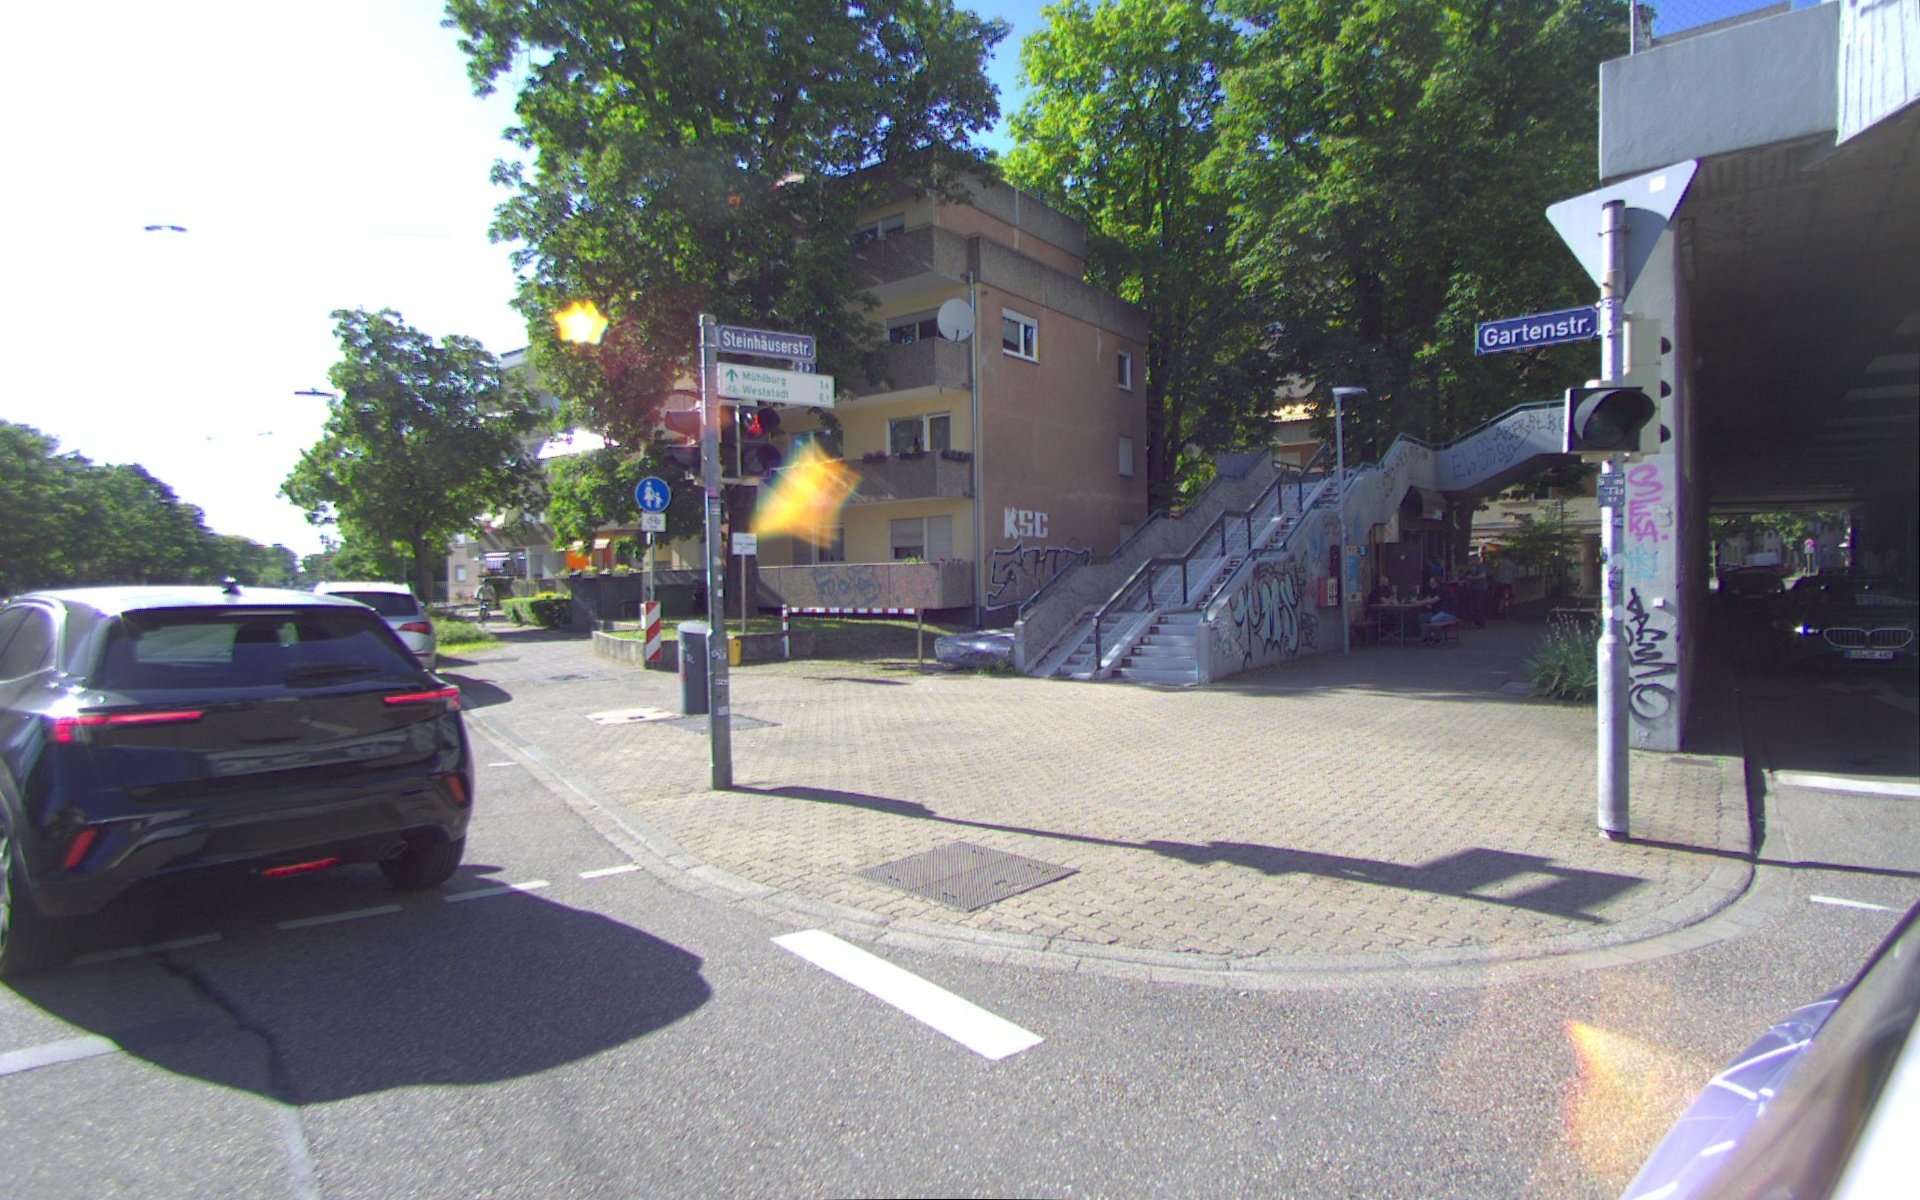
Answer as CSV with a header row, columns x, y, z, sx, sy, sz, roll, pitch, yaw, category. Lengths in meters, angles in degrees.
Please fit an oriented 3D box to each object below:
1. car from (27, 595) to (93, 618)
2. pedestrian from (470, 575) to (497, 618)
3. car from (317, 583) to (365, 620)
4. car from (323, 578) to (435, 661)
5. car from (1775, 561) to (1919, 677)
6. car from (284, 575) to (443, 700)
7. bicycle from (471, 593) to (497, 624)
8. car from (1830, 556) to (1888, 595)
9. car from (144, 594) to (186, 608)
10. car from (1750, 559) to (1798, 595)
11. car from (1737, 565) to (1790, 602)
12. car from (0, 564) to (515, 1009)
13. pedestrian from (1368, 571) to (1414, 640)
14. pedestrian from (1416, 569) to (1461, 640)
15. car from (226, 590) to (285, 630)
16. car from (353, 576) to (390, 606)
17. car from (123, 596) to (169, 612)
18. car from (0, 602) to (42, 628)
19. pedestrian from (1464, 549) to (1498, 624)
x,y,z,sx,sy,sz,roll,pitch,yaw,category
-55.548,0.375,62.506,2.889,1.265,1.406,-3,1,-36,car
-17.658,-0.142,37.549,0.860,1.572,0.936,-1,1,-24,pedestrian
-28.197,0.045,46.077,1.775,1.567,3.538,0,1,-33,car
-12.063,0.339,20.930,1.625,1.551,3.507,0,1,-36,car
14.324,0.195,16.121,1.948,1.575,4.973,0,2,38,car
-9.551,0.456,16.070,1.899,1.639,4.325,-2,2,-33,car
-17.611,0.291,37.481,0.793,1.074,2.197,-1,1,-24,bicycle
38.127,-1.068,42.999,1.609,1.574,3.958,0,2,38,car
-81.750,0.091,104.065,3.276,1.265,1.451,-3,1,-36,car
36.506,-1.054,45.443,1.609,1.574,3.958,0,2,38,car
32.413,-0.700,40.841,1.609,1.392,4.142,0,2,38,car
-4.193,0.636,5.337,3.733,1.536,1.764,-1,1,37,car
8.426,0.095,19.771,0.734,1.315,0.607,0,1,32,pedestrian
9.123,0.081,19.306,0.718,1.315,0.583,0,1,32,pedestrian
-29.648,0.392,42.665,1.775,1.520,3.880,-2,2,-31,car
-34.883,-0.573,59.930,1.775,1.695,3.880,-2,2,-31,car
-76.176,0.389,94.736,3.276,1.304,1.303,-3,1,-36,car
-46.072,0.732,48.549,2.850,1.191,1.255,-3,1,-36,car
12.062,-0.318,23.422,0.653,1.712,0.583,0,1,32,pedestrian
